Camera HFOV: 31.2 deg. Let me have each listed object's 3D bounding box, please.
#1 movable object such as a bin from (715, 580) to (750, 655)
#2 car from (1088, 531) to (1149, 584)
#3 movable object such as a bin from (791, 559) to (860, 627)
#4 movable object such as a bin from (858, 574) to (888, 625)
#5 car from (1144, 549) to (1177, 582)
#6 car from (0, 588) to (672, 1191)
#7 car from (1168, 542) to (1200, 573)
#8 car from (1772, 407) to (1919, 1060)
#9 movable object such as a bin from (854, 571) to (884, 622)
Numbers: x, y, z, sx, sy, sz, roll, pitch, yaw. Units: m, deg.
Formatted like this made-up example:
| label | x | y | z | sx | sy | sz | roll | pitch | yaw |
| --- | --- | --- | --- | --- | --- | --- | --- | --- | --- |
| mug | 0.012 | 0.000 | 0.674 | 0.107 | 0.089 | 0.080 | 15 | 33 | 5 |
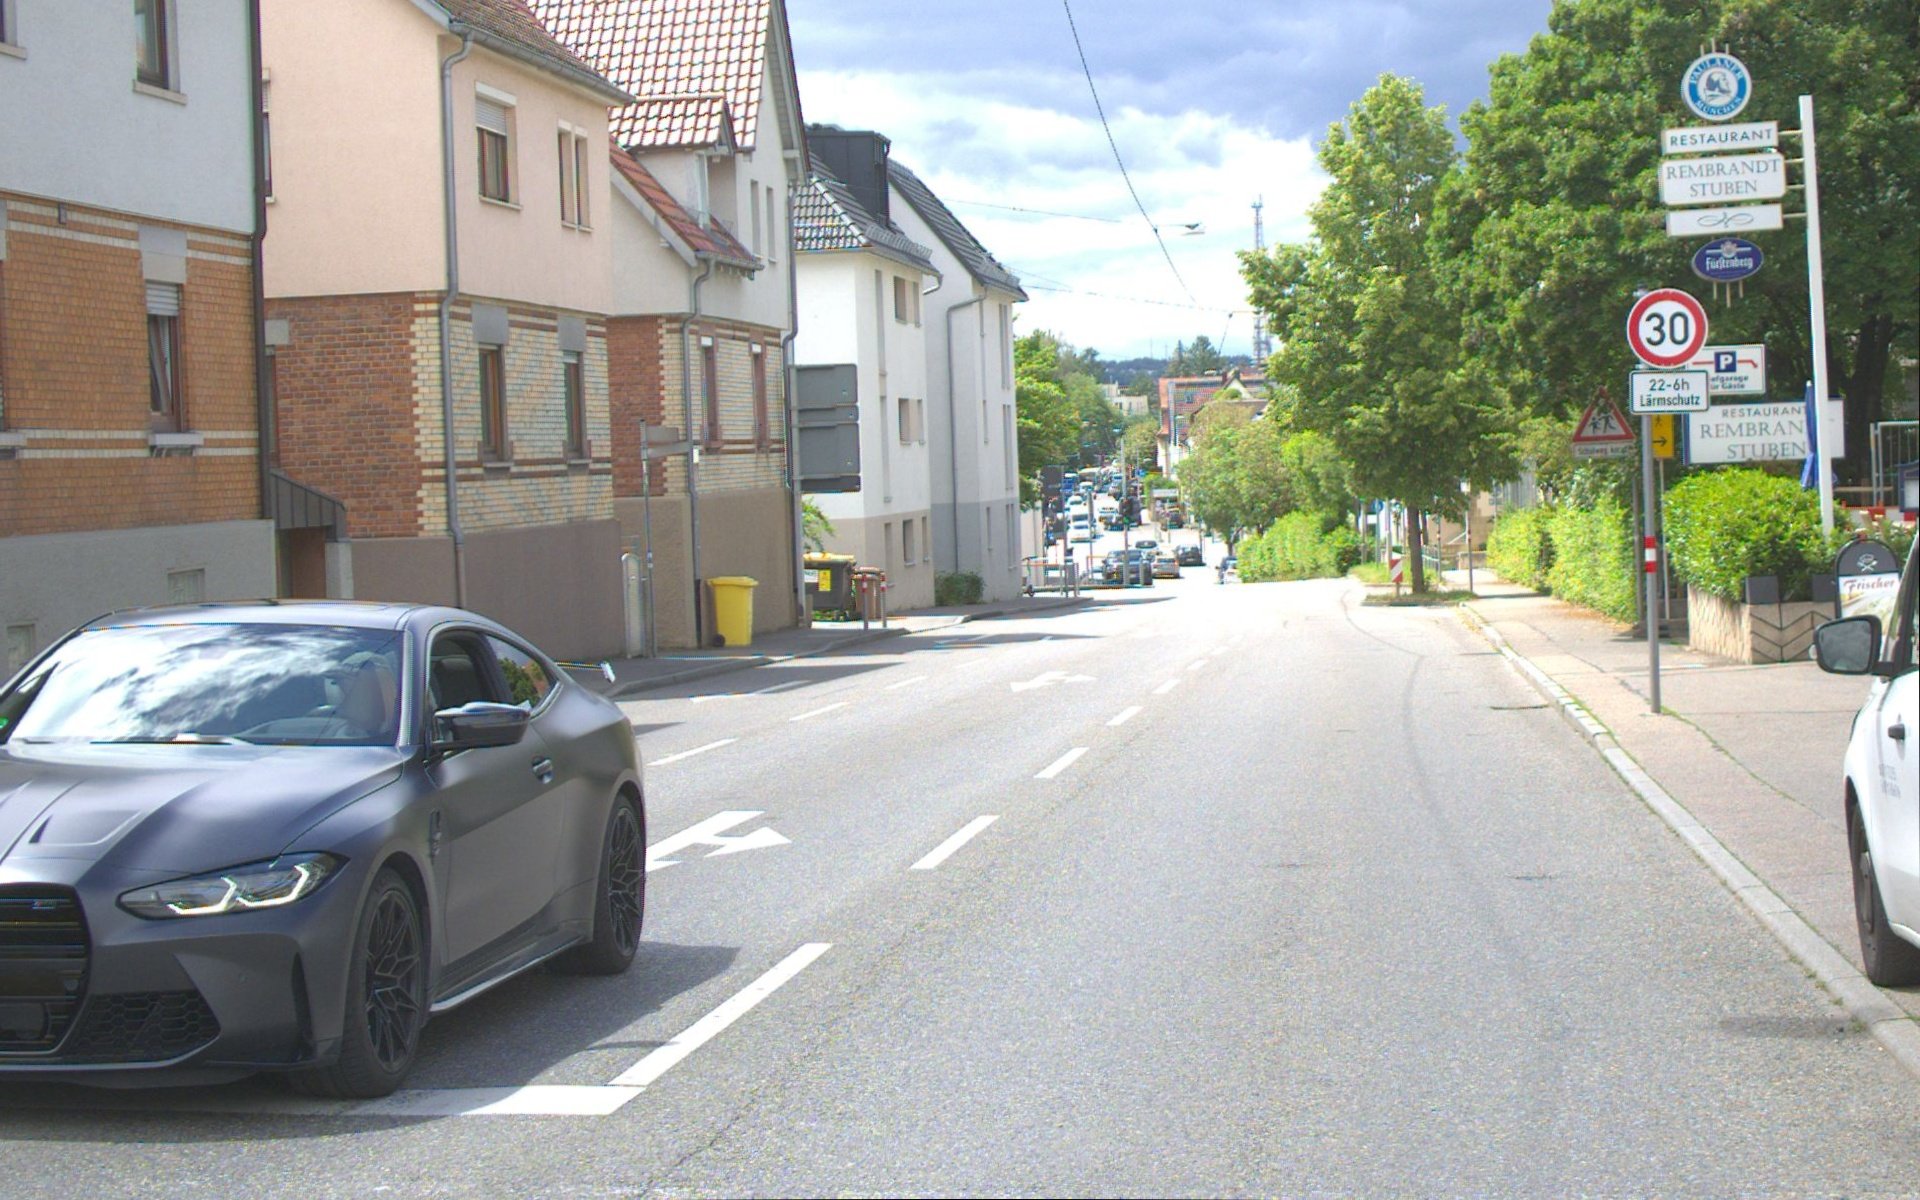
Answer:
| label | x | y | z | sx | sy | sz | roll | pitch | yaw |
| --- | --- | --- | --- | --- | --- | --- | --- | --- | --- |
| movable object such as a bin | -3.507 | 0.272 | 53.016 | 0.431 | 1.124 | 0.299 | -3 | 1 | 6 |
| car | 6.218 | -1.686 | 135.233 | 1.993 | 2.007 | 4.000 | -2 | 1 | -2 |
| movable object such as a bin | -2.702 | -0.149 | 69.092 | 1.281 | 1.305 | 0.816 | -2 | 1 | 2 |
| movable object such as a bin | -1.784 | -0.020 | 70.827 | 0.531 | 1.026 | 0.455 | -2 | 1 | 5 |
| car | 12.936 | -2.198 | 222.077 | 1.994 | 2.007 | 4.000 | -2 | 0 | 3 |
| car | -2.408 | 0.776 | 11.308 | 1.994 | 1.452 | 4.616 | -3 | 1 | 6 |
| car | 15.494 | -2.953 | 237.822 | 1.994 | 2.007 | 4.000 | -2 | 0 | 3 |
| car | 3.607 | 0.311 | 9.874 | 1.911 | 1.788 | 4.489 | -4 | 1 | 7 |
| movable object such as a bin | -1.852 | -0.079 | 70.315 | 0.531 | 1.026 | 0.455 | -2 | 1 | 5 |
